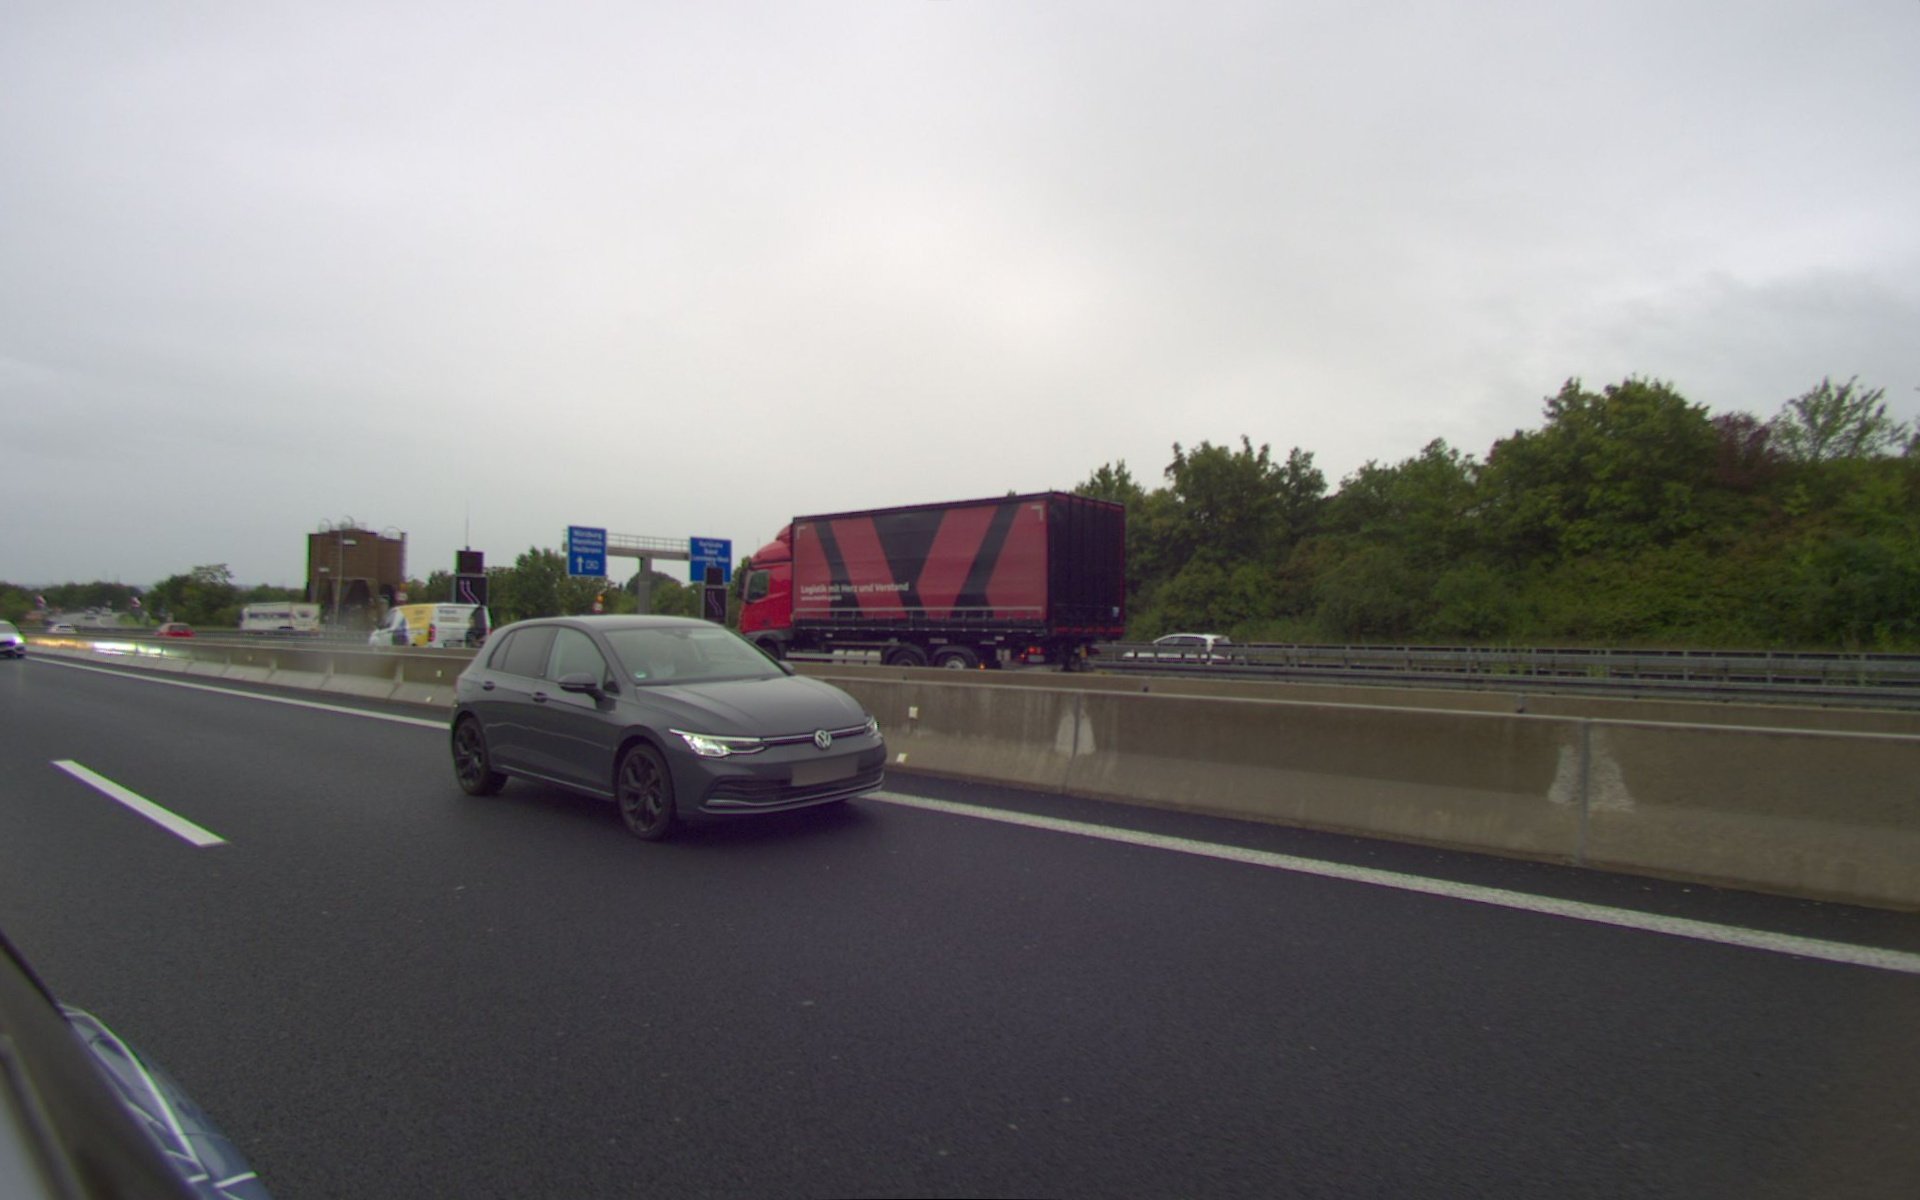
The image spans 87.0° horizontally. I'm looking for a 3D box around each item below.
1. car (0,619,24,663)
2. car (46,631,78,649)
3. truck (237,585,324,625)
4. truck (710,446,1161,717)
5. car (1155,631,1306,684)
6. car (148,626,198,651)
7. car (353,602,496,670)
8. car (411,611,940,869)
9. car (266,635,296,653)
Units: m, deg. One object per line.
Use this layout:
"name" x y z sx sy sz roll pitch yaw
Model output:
"car" -37.181 1.544 38.552 4.817 1.603 1.971 -1 -1 44
"car" -88.300 3.931 99.465 4.314 1.674 1.972 -1 -2 43
"truck" -69.880 0.668 103.782 17.128 3.838 3.144 -1 -3 42
"truck" -1.030 -0.251 22.523 10.479 4.769 3.365 -1 -1 41
"car" 7.834 1.623 29.487 3.998 1.409 1.506 -1 -1 41
"car" -51.762 2.512 66.500 4.579 1.564 1.706 -1 0 40
"car" -16.269 1.073 30.617 5.217 1.877 1.973 -1 -3 40
"car" -2.391 0.851 7.833 4.364 1.436 1.812 -2 -1 40
"car" -61.038 3.947 90.924 1.553 1.495 4.050 -1 0 -44
